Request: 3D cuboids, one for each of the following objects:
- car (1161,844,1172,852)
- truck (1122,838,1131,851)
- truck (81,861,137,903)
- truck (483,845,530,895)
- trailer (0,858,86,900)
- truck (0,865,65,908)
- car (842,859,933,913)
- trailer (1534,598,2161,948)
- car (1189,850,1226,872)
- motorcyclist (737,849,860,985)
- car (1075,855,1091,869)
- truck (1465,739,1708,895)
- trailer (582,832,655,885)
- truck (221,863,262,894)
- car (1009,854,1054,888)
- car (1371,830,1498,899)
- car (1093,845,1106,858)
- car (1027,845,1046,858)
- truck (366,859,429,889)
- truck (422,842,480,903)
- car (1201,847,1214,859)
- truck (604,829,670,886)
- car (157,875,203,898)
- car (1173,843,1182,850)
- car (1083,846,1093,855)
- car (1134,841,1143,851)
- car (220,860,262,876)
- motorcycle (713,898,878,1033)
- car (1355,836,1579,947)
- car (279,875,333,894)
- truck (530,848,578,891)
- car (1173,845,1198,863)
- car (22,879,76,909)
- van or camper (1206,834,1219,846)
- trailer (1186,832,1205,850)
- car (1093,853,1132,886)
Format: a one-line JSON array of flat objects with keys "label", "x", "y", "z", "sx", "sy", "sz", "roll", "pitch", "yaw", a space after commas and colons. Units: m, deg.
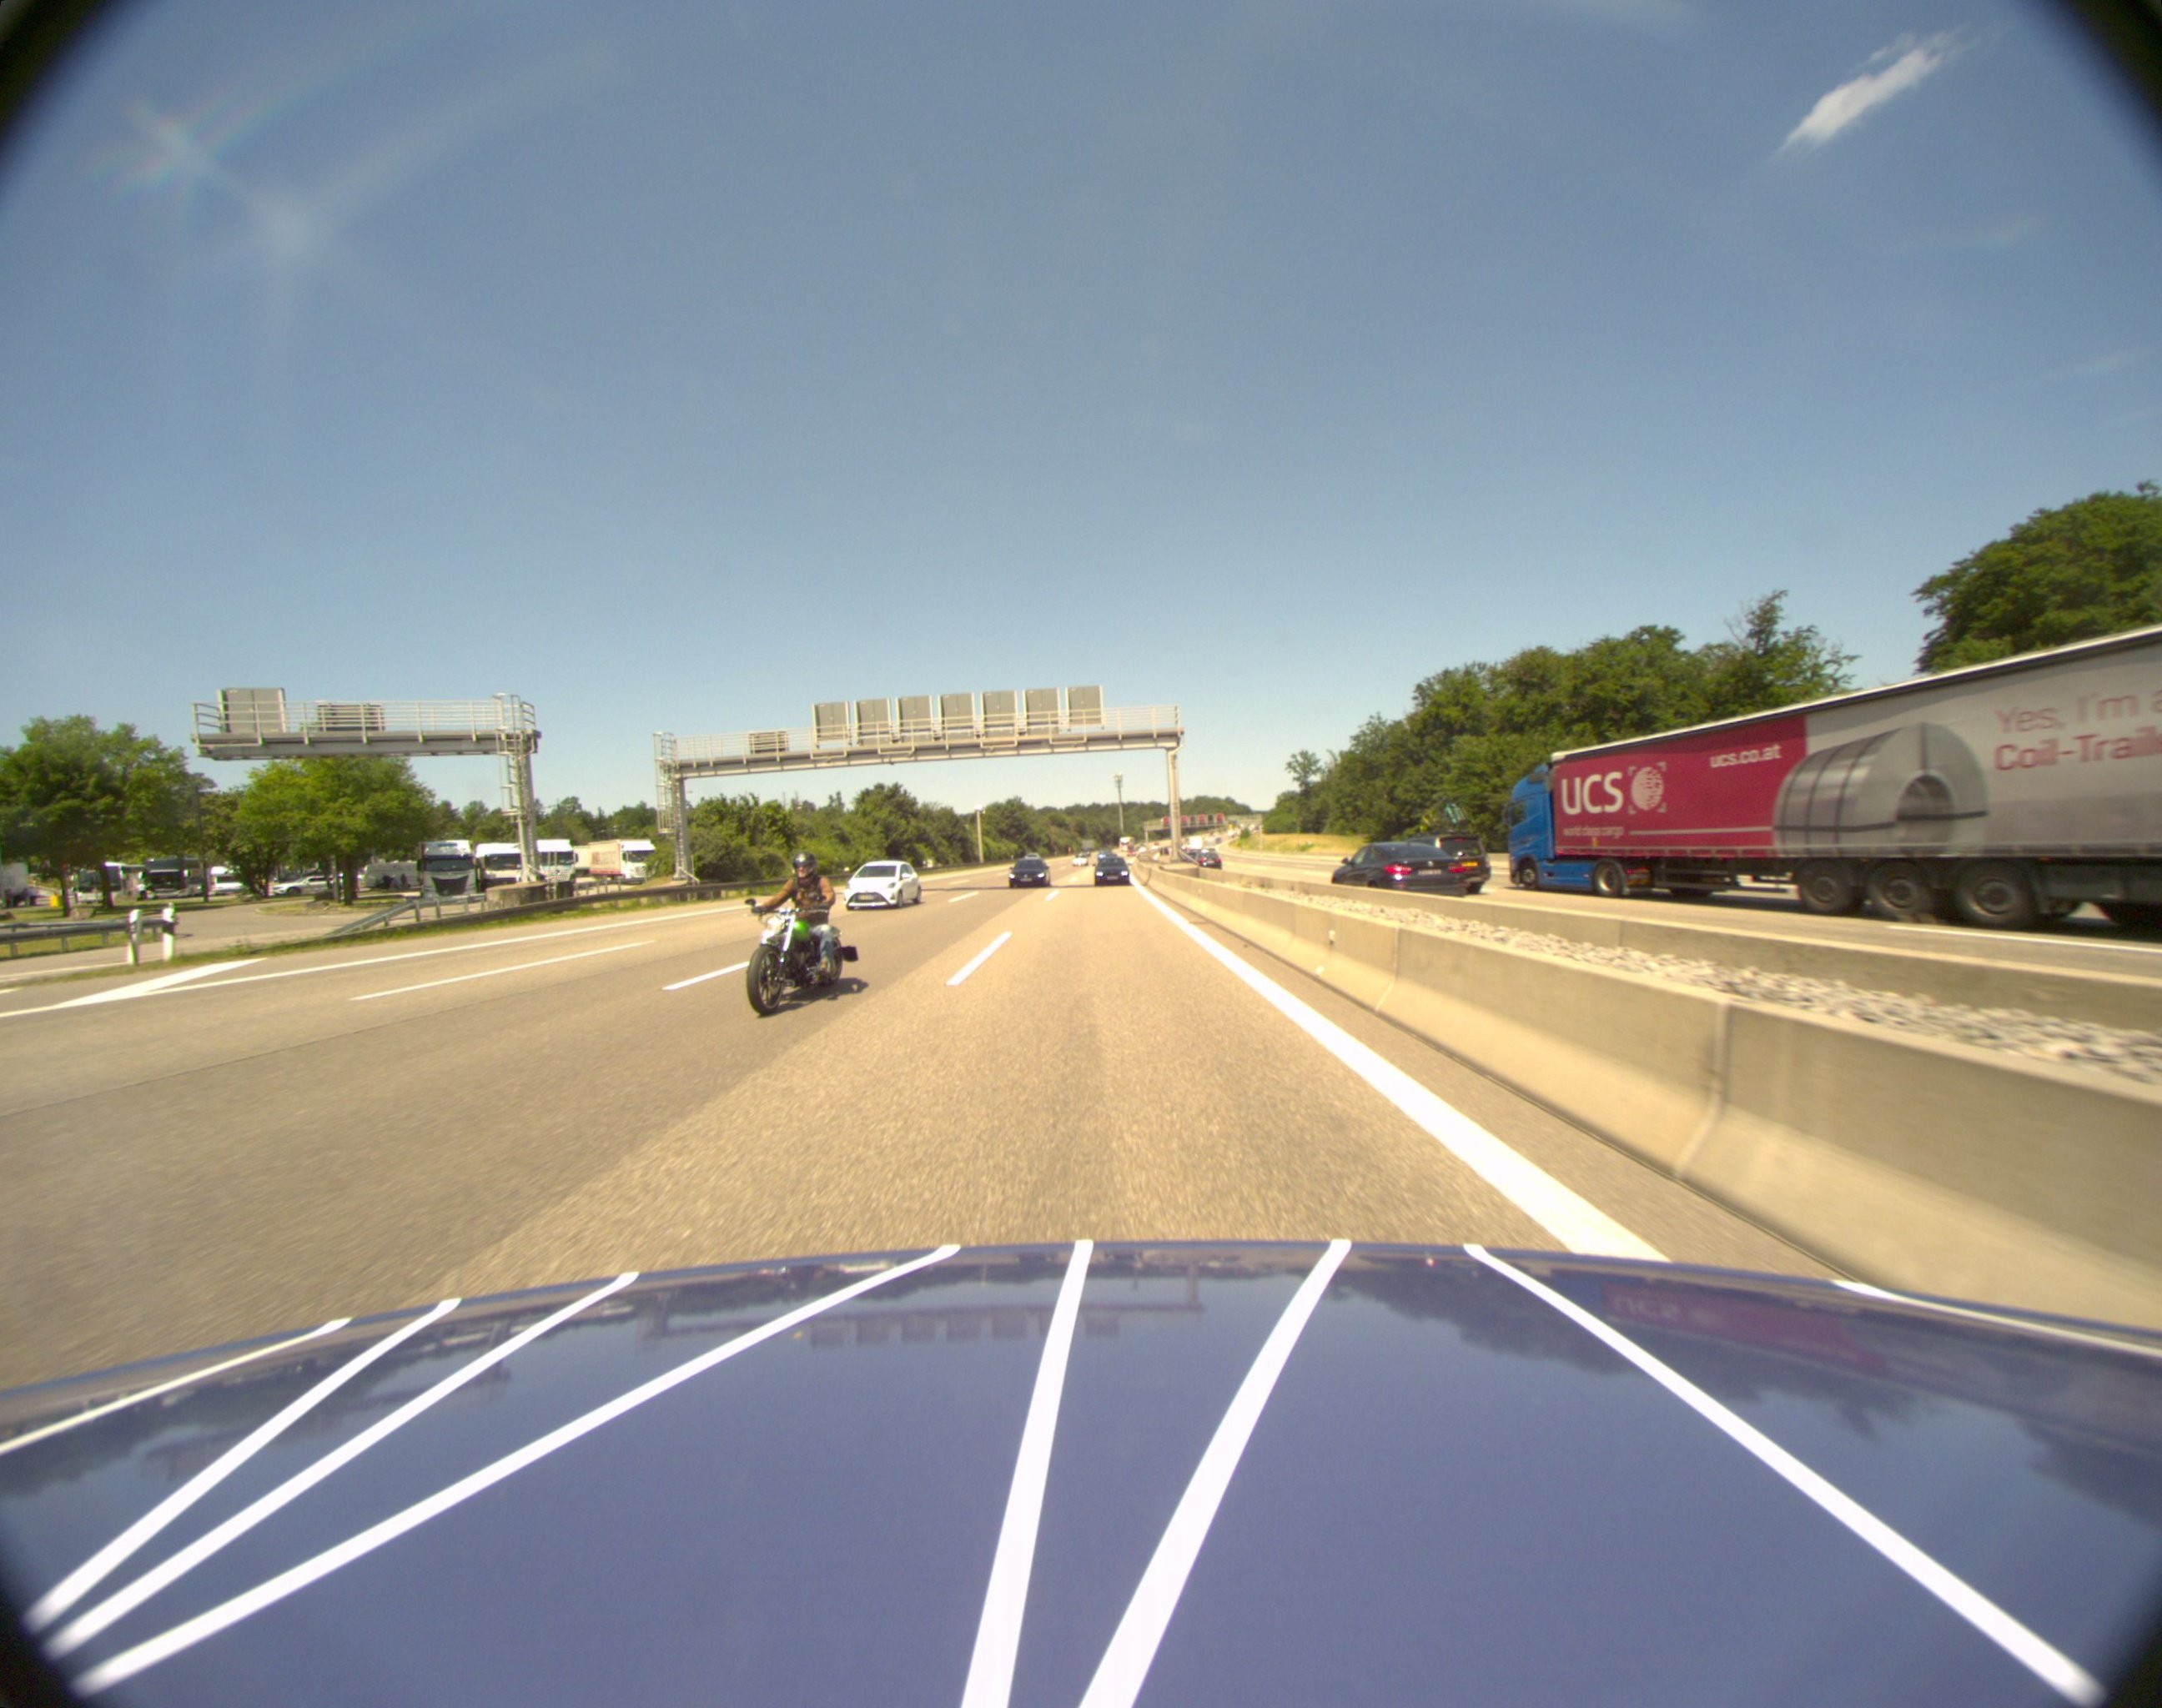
[{"label": "car", "x": 18.147, "y": -1.268, "z": 161.421, "sx": 1.998, "sy": 1.658, "sz": 4.435, "roll": -2, "pitch": 1, "yaw": 4}, {"label": "truck", "x": 13.816, "y": -2.963, "z": 232.218, "sx": 2.434, "sy": 3.458, "sz": 7.021, "roll": -3, "pitch": 2, "yaw": 3}, {"label": "truck", "x": -91.482, "y": 2.596, "z": 71.613, "sx": 8.854, "sy": 3.644, "sz": 2.350, "roll": -1, "pitch": 3, "yaw": 42}, {"label": "truck", "x": -44.119, "y": 1.171, "z": 58.240, "sx": 2.458, "sy": 3.410, "sz": 9.003, "roll": -5, "pitch": 3, "yaw": -38}, {"label": "trailer", "x": -98.869, "y": 2.306, "z": 71.776, "sx": 3.450, "sy": 3.612, "sz": 10.729, "roll": -5, "pitch": 3, "yaw": -40}, {"label": "truck", "x": -96.476, "y": 2.910, "z": 68.997, "sx": 3.489, "sy": 3.591, "sz": 6.017, "roll": -5, "pitch": 3, "yaw": -40}, {"label": "car", "x": -6.303, "y": 0.988, "z": 25.266, "sx": 1.754, "sy": 1.510, "sz": 4.484, "roll": -2, "pitch": 0, "yaw": 1}, {"label": "trailer", "x": 15.241, "y": -1.137, "z": 15.232, "sx": 3.845, "sy": 4.255, "sz": 14.475, "roll": -3, "pitch": 1, "yaw": 1}, {"label": "car", "x": 9.215, "y": 0.475, "z": 55.645, "sx": 1.961, "sy": 1.509, "sz": 5.133, "roll": -2, "pitch": 0, "yaw": 2}, {"label": "motorcyclist", "x": -3.133, "y": 0.671, "z": 8.528, "sx": 0.854, "sy": 1.419, "sz": 1.024, "roll": -1, "pitch": 1, "yaw": 10}, {"label": "car", "x": 0.251, "y": 0.962, "z": 92.454, "sx": 1.729, "sy": 1.521, "sz": 3.741, "roll": -4, "pitch": 1, "yaw": 2}, {"label": "truck", "x": 15.520, "y": -1.046, "z": 24.055, "sx": 3.795, "sy": 4.153, "sz": 5.879, "roll": -3, "pitch": 1, "yaw": 2}, {"label": "trailer", "x": -45.207, "y": 0.408, "z": 74.003, "sx": 3.287, "sy": 4.682, "sz": 12.024, "roll": -5, "pitch": 3, "yaw": -44}, {"label": "truck", "x": -86.799, "y": 2.503, "z": 78.618, "sx": 2.003, "sy": 2.978, "sz": 6.362, "roll": -5, "pitch": 3, "yaw": -42}, {"label": "car", "x": -2.400, "y": 0.787, "z": 38.016, "sx": 1.760, "sy": 1.431, "sz": 3.999, "roll": -2, "pitch": 2, "yaw": 3}, {"label": "car", "x": 11.253, "y": 0.303, "z": 24.598, "sx": 1.998, "sy": 1.955, "sz": 4.783, "roll": -2, "pitch": 0, "yaw": 2}, {"label": "car", "x": 3.247, "y": -0.397, "z": 130.633, "sx": 1.998, "sy": 2.002, "sz": 4.000, "roll": -3, "pitch": 2, "yaw": 4}, {"label": "car", "x": -5.899, "y": -0.338, "z": 101.358, "sx": 1.998, "sy": 1.521, "sz": 4.000, "roll": -2, "pitch": 2, "yaw": 4}, {"label": "truck", "x": -68.300, "y": 1.928, "z": 76.006, "sx": 4.451, "sy": 2.630, "sz": 2.111, "roll": -5, "pitch": 3, "yaw": -43}, {"label": "truck", "x": -40.764, "y": 1.117, "z": 49.222, "sx": 2.498, "sy": 3.591, "sz": 6.308, "roll": -5, "pitch": 3, "yaw": -40}, {"label": "car", "x": 22.749, "y": -0.177, "z": 136.666, "sx": 1.997, "sy": 2.002, "sz": 4.000, "roll": -3, "pitch": 2, "yaw": 7}, {"label": "truck", "x": -40.254, "y": 0.300, "z": 68.804, "sx": 3.272, "sy": 4.698, "sz": 7.169, "roll": -5, "pitch": 3, "yaw": -43}, {"label": "car", "x": -87.926, "y": 3.178, "z": 74.198, "sx": 2.248, "sy": 1.960, "sz": 4.475, "roll": -5, "pitch": 3, "yaw": -42}, {"label": "car", "x": 23.287, "y": -1.847, "z": 183.761, "sx": 1.765, "sy": 1.512, "sz": 4.361, "roll": -3, "pitch": 2, "yaw": 4}, {"label": "car", "x": 1.581, "y": -0.788, "z": 171.371, "sx": 1.998, "sy": 2.002, "sz": 3.999, "roll": -3, "pitch": 2, "yaw": 2}, {"label": "car", "x": 15.740, "y": -2.175, "z": 207.915, "sx": 2.233, "sy": 2.372, "sz": 4.161, "roll": -3, "pitch": 2, "yaw": 3}, {"label": "car", "x": -113.160, "y": 1.868, "z": 102.383, "sx": 2.001, "sy": 2.002, "sz": 3.992, "roll": -4, "pitch": 2, "yaw": -20}, {"label": "motorcycle", "x": -3.089, "y": 1.145, "z": 8.553, "sx": 0.536, "sy": 1.129, "sz": 2.438, "roll": -1, "pitch": 1, "yaw": 10}, {"label": "car", "x": 7.423, "y": 0.576, "z": 15.363, "sx": 1.998, "sy": 1.714, "sz": 5.194, "roll": -3, "pitch": 2, "yaw": 2}, {"label": "car", "x": -71.996, "y": 2.832, "z": 70.631, "sx": 1.559, "sy": 1.529, "sz": 3.200, "roll": -1, "pitch": 3, "yaw": 35}, {"label": "truck", "x": -42.173, "y": 1.173, "z": 60.718, "sx": 2.458, "sy": 3.107, "sz": 9.003, "roll": -5, "pitch": 3, "yaw": -38}, {"label": "car", "x": 10.028, "y": 0.002, "z": 73.314, "sx": 1.858, "sy": 1.510, "sz": 4.521, "roll": -2, "pitch": 2, "yaw": 2}, {"label": "car", "x": -78.004, "y": 2.977, "z": 57.499, "sx": 4.460, "sy": 2.002, "sz": 2.175, "roll": -1, "pitch": 3, "yaw": 38}, {"label": "van or camper", "x": 35.341, "y": -3.777, "z": 204.971, "sx": 2.770, "sy": 3.108, "sz": 8.095, "roll": -3, "pitch": 2, "yaw": 6}, {"label": "trailer", "x": 28.739, "y": -3.356, "z": 191.662, "sx": 2.871, "sy": 4.238, "sz": 13.958, "roll": -2, "pitch": 1, "yaw": 1}, {"label": "car", "x": 1.646, "y": 0.731, "z": 38.400, "sx": 1.769, "sy": 1.495, "sz": 4.001, "roll": -3, "pitch": 0, "yaw": 5}]
